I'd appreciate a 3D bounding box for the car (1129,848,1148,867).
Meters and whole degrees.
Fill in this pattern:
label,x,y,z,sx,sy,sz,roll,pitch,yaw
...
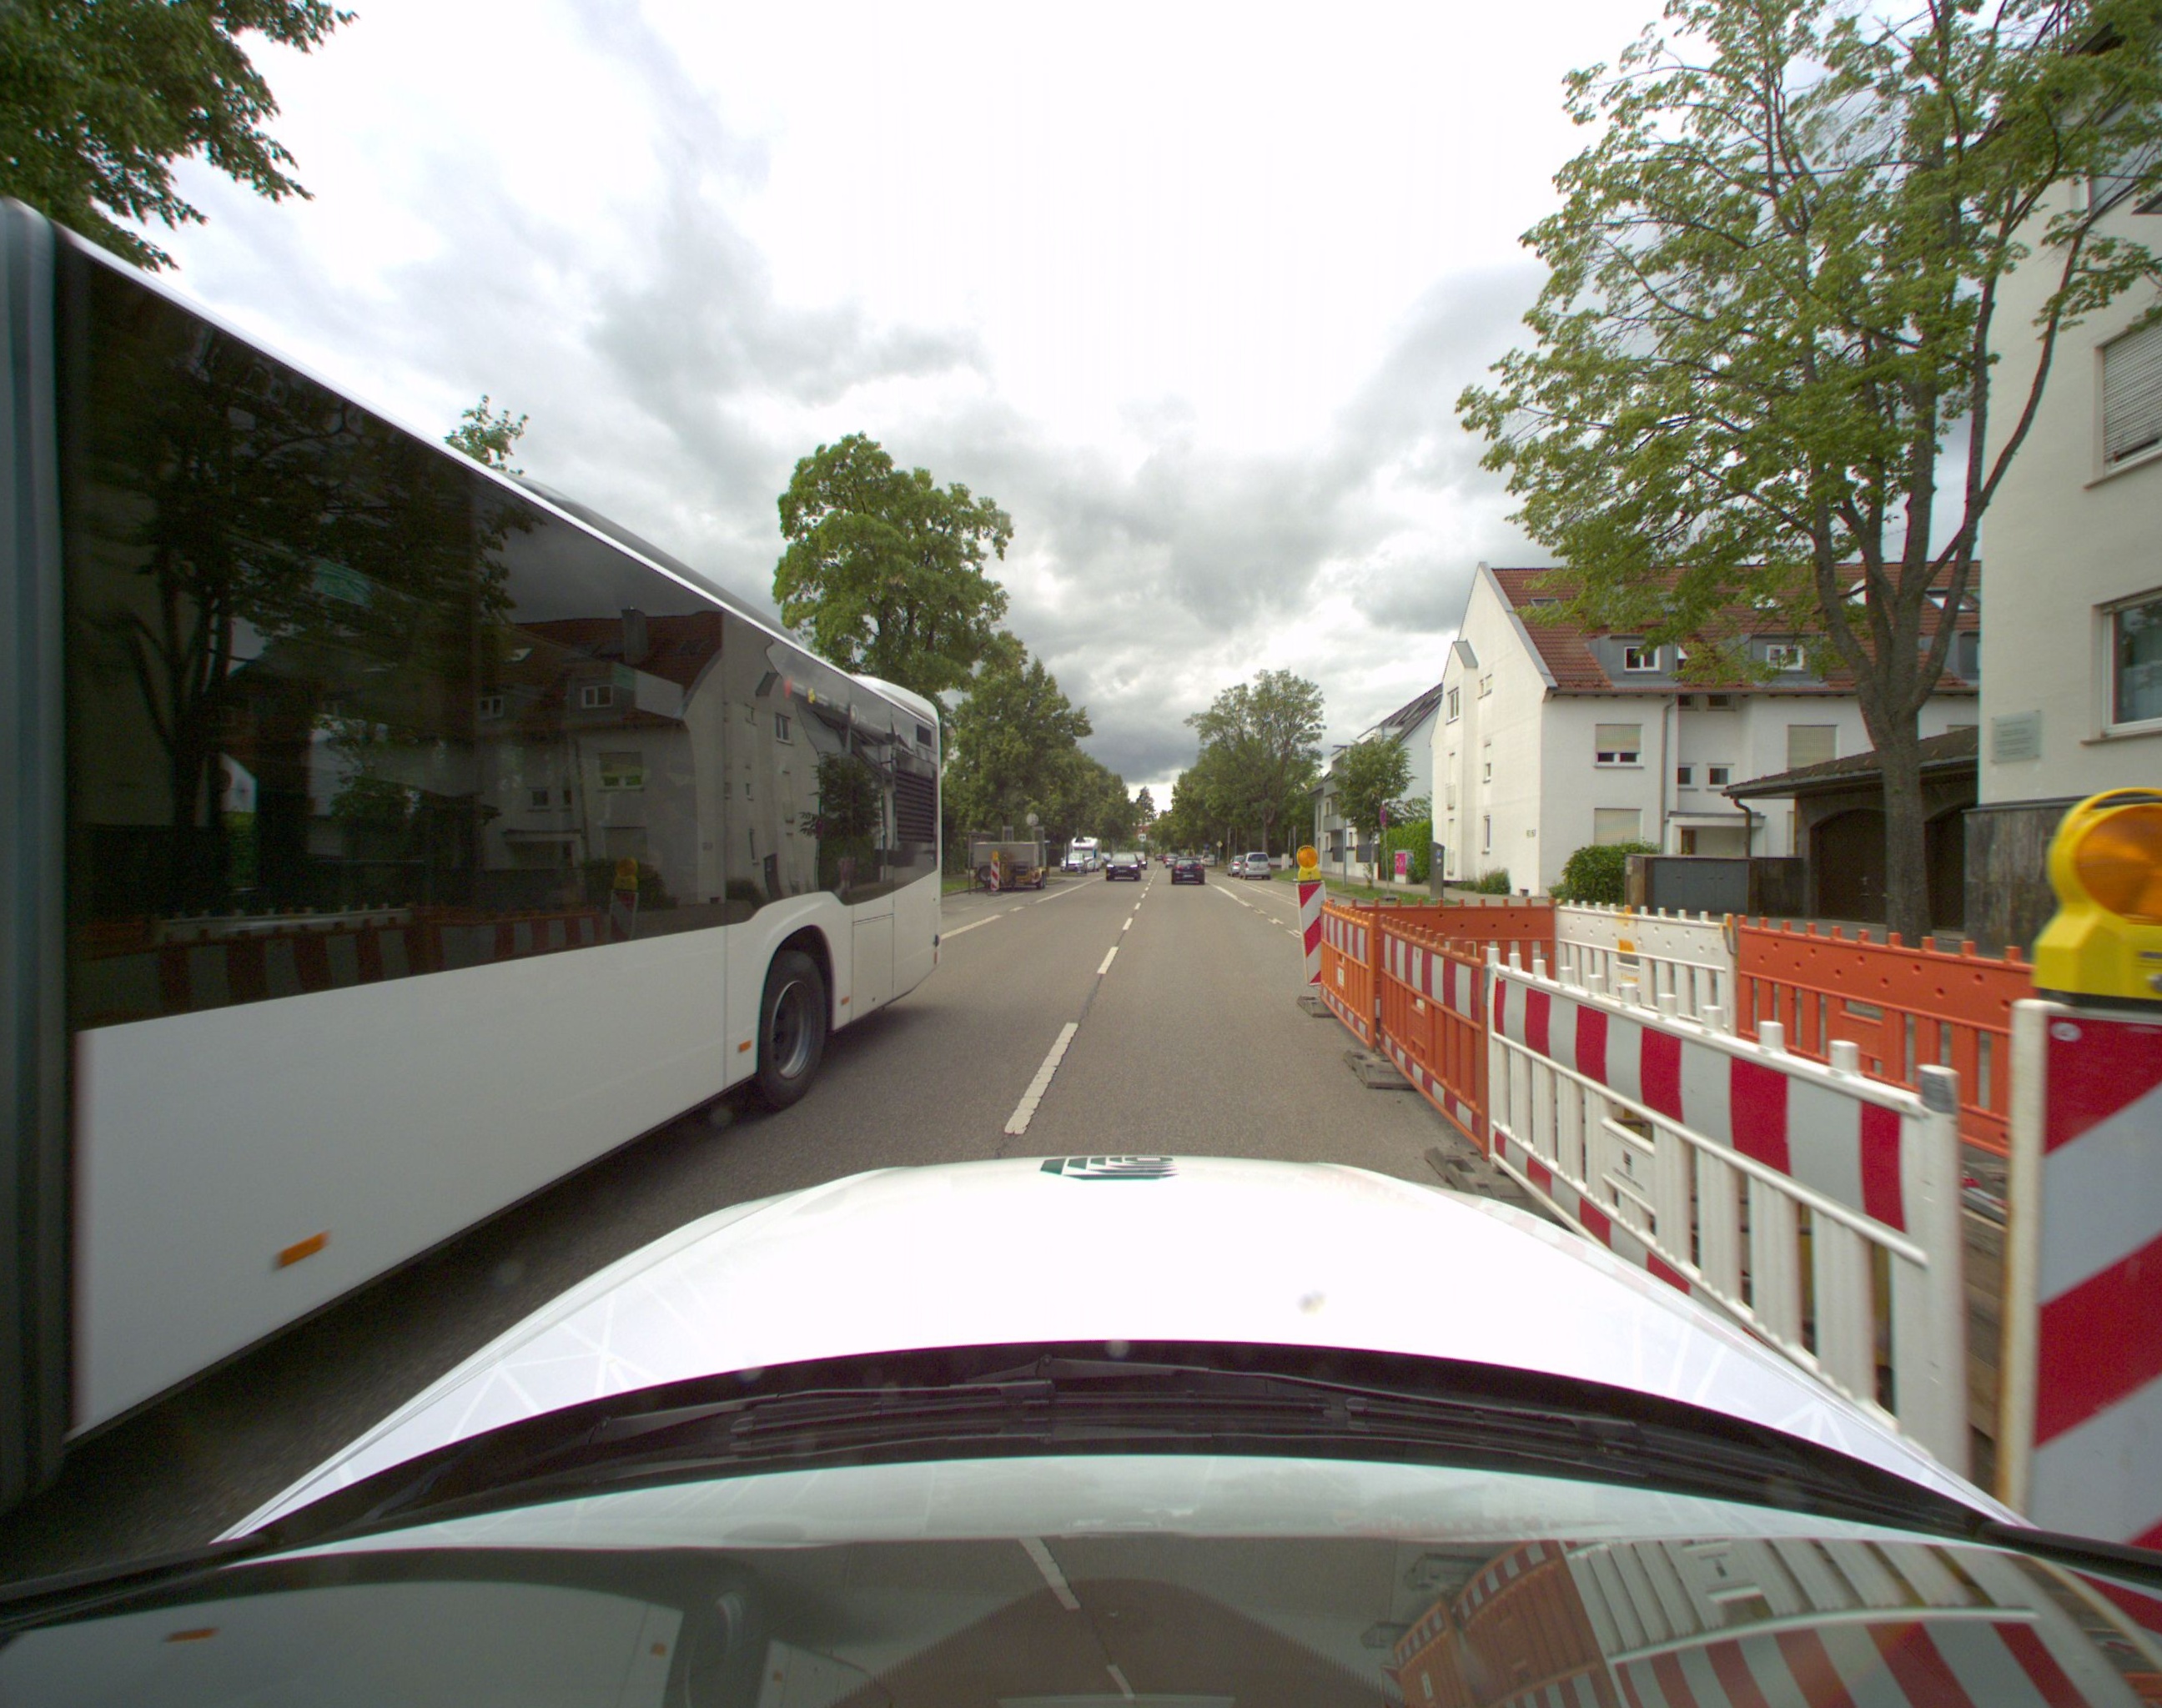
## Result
label,x,y,z,sx,sy,sz,roll,pitch,yaw
car,5.722,0.361,80.928,1.751,1.803,4.776,0,0,6

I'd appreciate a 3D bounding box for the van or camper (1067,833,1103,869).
label,x,y,z,sx,sy,sz,roll,pitch,yaw
van or camper,0.464,-0.228,71.814,2.423,3.009,7.706,0,0,6

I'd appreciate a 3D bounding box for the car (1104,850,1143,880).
label,x,y,z,sx,sy,sz,roll,pitch,yaw
car,2.619,0.626,48.871,1.983,1.668,4.598,-1,0,7

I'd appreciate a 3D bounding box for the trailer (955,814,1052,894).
label,x,y,z,sx,sy,sz,roll,pitch,yaw
trailer,-3.059,0.033,34.356,2.661,2.941,7.485,1,-1,5

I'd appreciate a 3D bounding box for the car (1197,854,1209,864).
label,x,y,z,sx,sy,sz,roll,pitch,yaw
car,17.127,0.683,114.731,1.629,1.420,4.008,0,0,7

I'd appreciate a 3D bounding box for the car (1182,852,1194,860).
label,x,y,z,sx,sy,sz,roll,pitch,yaw
car,19.715,0.407,149.705,1.677,1.432,4.044,0,0,1

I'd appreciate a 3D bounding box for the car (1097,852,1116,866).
label,x,y,z,sx,sy,sz,roll,pitch,yaw
car,3.057,0.563,97.552,1.807,1.652,4.709,1,0,8

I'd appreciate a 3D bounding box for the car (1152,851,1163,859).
label,x,y,z,sx,sy,sz,roll,pitch,yaw
car,15.138,0.261,161.525,1.986,1.508,4.000,1,-1,1

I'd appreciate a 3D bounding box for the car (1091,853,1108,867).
label,x,y,z,sx,sy,sz,roll,pitch,yaw
car,1.999,0.673,87.776,1.548,1.470,4.457,1,0,4

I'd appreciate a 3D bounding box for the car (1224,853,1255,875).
label,x,y,z,sx,sy,sz,roll,pitch,yaw
car,11.000,0.658,56.782,1.679,1.493,4.233,0,0,5

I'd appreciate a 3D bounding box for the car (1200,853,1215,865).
label,x,y,z,sx,sy,sz,roll,pitch,yaw
car,15.960,0.663,102.874,1.608,1.460,3.663,0,0,5

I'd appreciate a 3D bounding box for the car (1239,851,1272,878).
label,x,y,z,sx,sy,sz,roll,pitch,yaw
car,10.894,0.635,51.050,1.624,1.665,3.654,0,0,6

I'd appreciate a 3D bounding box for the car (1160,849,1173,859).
label,x,y,z,sx,sy,sz,roll,pitch,yaw
car,13.453,-0.006,127.986,1.985,1.530,4.004,0,0,4

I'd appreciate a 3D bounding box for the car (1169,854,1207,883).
label,x,y,z,sx,sy,sz,roll,pitch,yaw
car,5.635,0.754,43.255,1.775,1.449,3.561,0,0,3

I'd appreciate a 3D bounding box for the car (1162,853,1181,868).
label,x,y,z,sx,sy,sz,roll,pitch,yaw
car,10.213,0.731,91.790,1.983,1.558,4.007,0,0,6

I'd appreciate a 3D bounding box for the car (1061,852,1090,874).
label,x,y,z,sx,sy,sz,roll,pitch,yaw
car,-0.389,0.654,62.826,1.714,1.600,4.280,0,0,6

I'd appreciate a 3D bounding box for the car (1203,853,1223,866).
label,x,y,z,sx,sy,sz,roll,pitch,yaw
car,15.232,0.583,94.485,2.010,1.443,5.034,1,0,6
